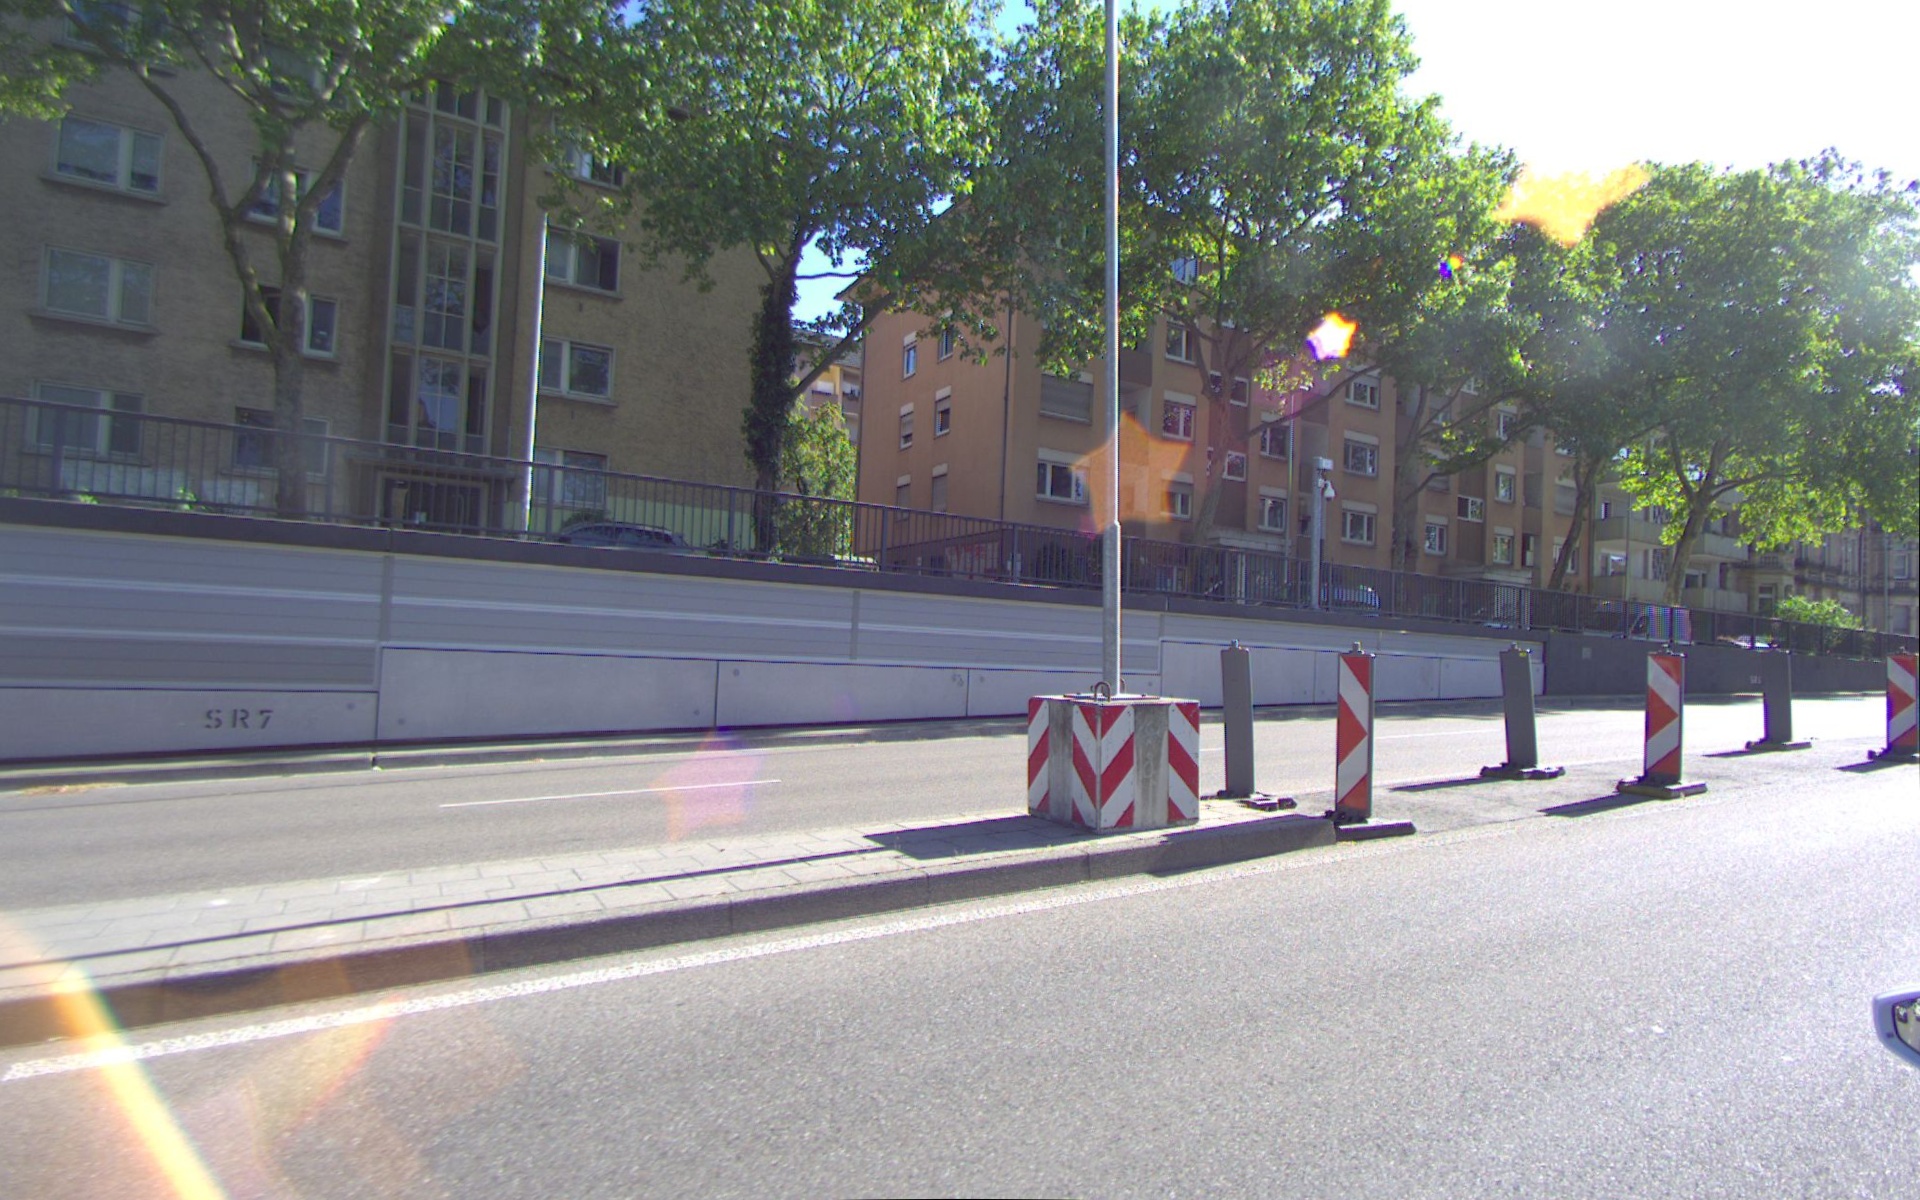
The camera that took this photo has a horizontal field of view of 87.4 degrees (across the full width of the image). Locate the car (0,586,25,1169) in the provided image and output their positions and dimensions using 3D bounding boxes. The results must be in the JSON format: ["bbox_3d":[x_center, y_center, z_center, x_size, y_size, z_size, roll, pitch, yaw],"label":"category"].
[{"bbox_3d":[-4.120,0.657,0.567,4.945,1.458,1.799,1,0,-31],"label":"car"}]

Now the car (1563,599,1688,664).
[{"bbox_3d":[27.132,1.307,40.918,5.354,2.390,1.985,3,-1,-29],"label":"car"}]

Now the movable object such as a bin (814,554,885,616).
[{"bbox_3d":[-2.872,-0.378,26.068,1.346,1.503,1.196,3,-1,-38],"label":"movable object such as a bin"}]

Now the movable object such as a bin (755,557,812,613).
[{"bbox_3d":[-5.097,-0.428,28.955,1.135,1.503,1.306,3,-1,-32],"label":"movable object such as a bin"}]

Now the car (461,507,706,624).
[{"bbox_3d":[-7.646,-0.617,20.493,4.363,1.986,1.956,3,-1,-30],"label":"car"}]

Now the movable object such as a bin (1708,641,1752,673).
[{"bbox_3d":[36.999,2.743,48.266,1.286,1.420,1.273,3,-1,-29],"label":"movable object such as a bin"}]
